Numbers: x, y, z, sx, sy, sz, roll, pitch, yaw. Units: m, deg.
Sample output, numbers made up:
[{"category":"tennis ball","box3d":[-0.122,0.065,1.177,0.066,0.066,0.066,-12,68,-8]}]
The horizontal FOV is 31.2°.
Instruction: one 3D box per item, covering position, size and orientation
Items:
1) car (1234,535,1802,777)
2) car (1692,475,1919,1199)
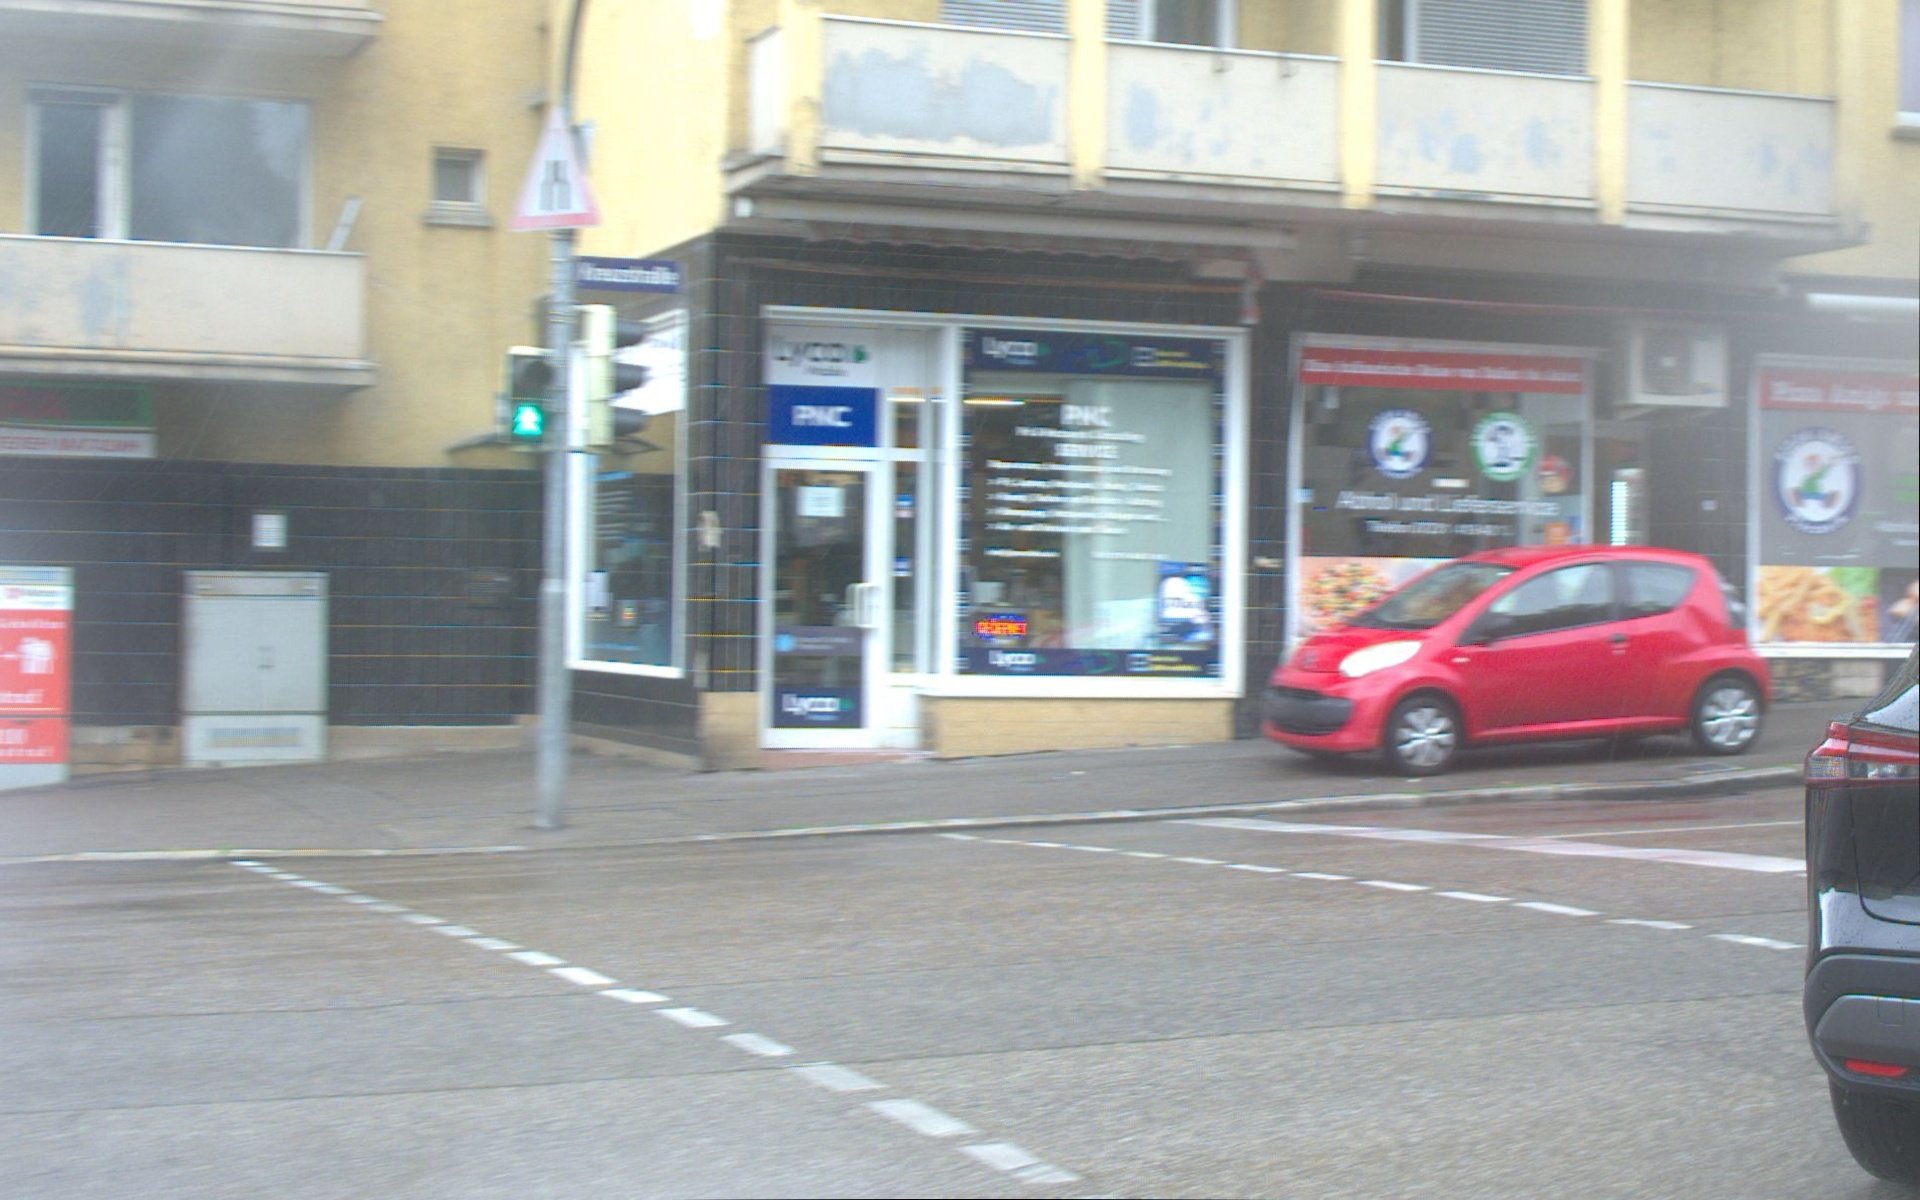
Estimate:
[{"category":"car","box3d":[3.841,0.340,23.740,3.521,1.459,1.615,-2,3,-20]},{"category":"car","box3d":[3.516,0.527,8.035,1.885,1.588,3.912,1,1,41]}]
